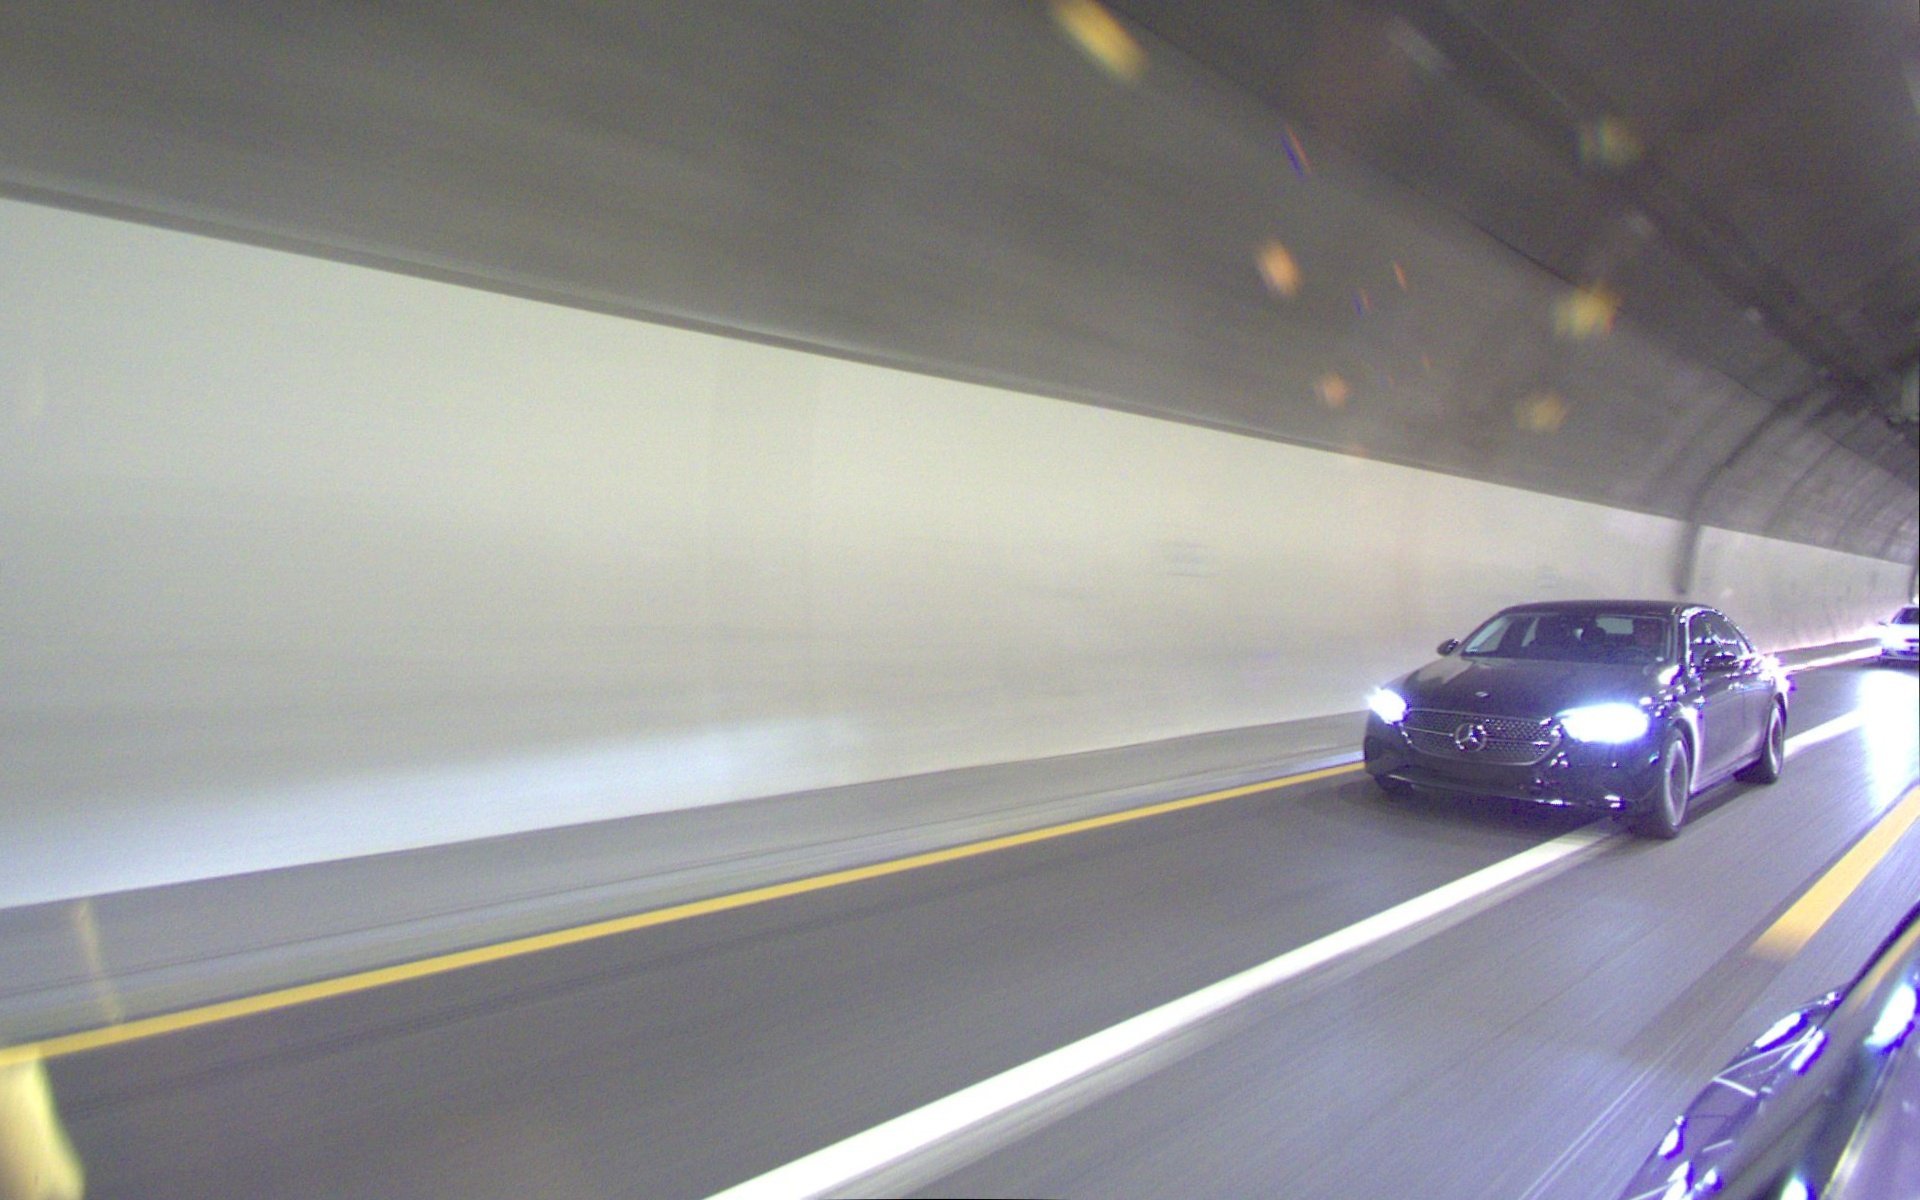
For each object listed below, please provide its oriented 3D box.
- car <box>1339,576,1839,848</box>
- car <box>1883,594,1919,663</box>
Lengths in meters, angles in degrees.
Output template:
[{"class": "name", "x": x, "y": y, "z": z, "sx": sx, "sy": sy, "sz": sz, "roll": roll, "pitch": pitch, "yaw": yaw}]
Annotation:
[{"class": "car", "x": 5.179, "y": 0.602, "z": 8.010, "sx": 4.867, "sy": 1.490, "sz": 1.930, "roll": 0, "pitch": 2, "yaw": -40}, {"class": "car", "x": 22.632, "y": 0.639, "z": 23.025, "sx": 3.961, "sy": 1.479, "sz": 1.802, "roll": 0, "pitch": 1, "yaw": -39}]
